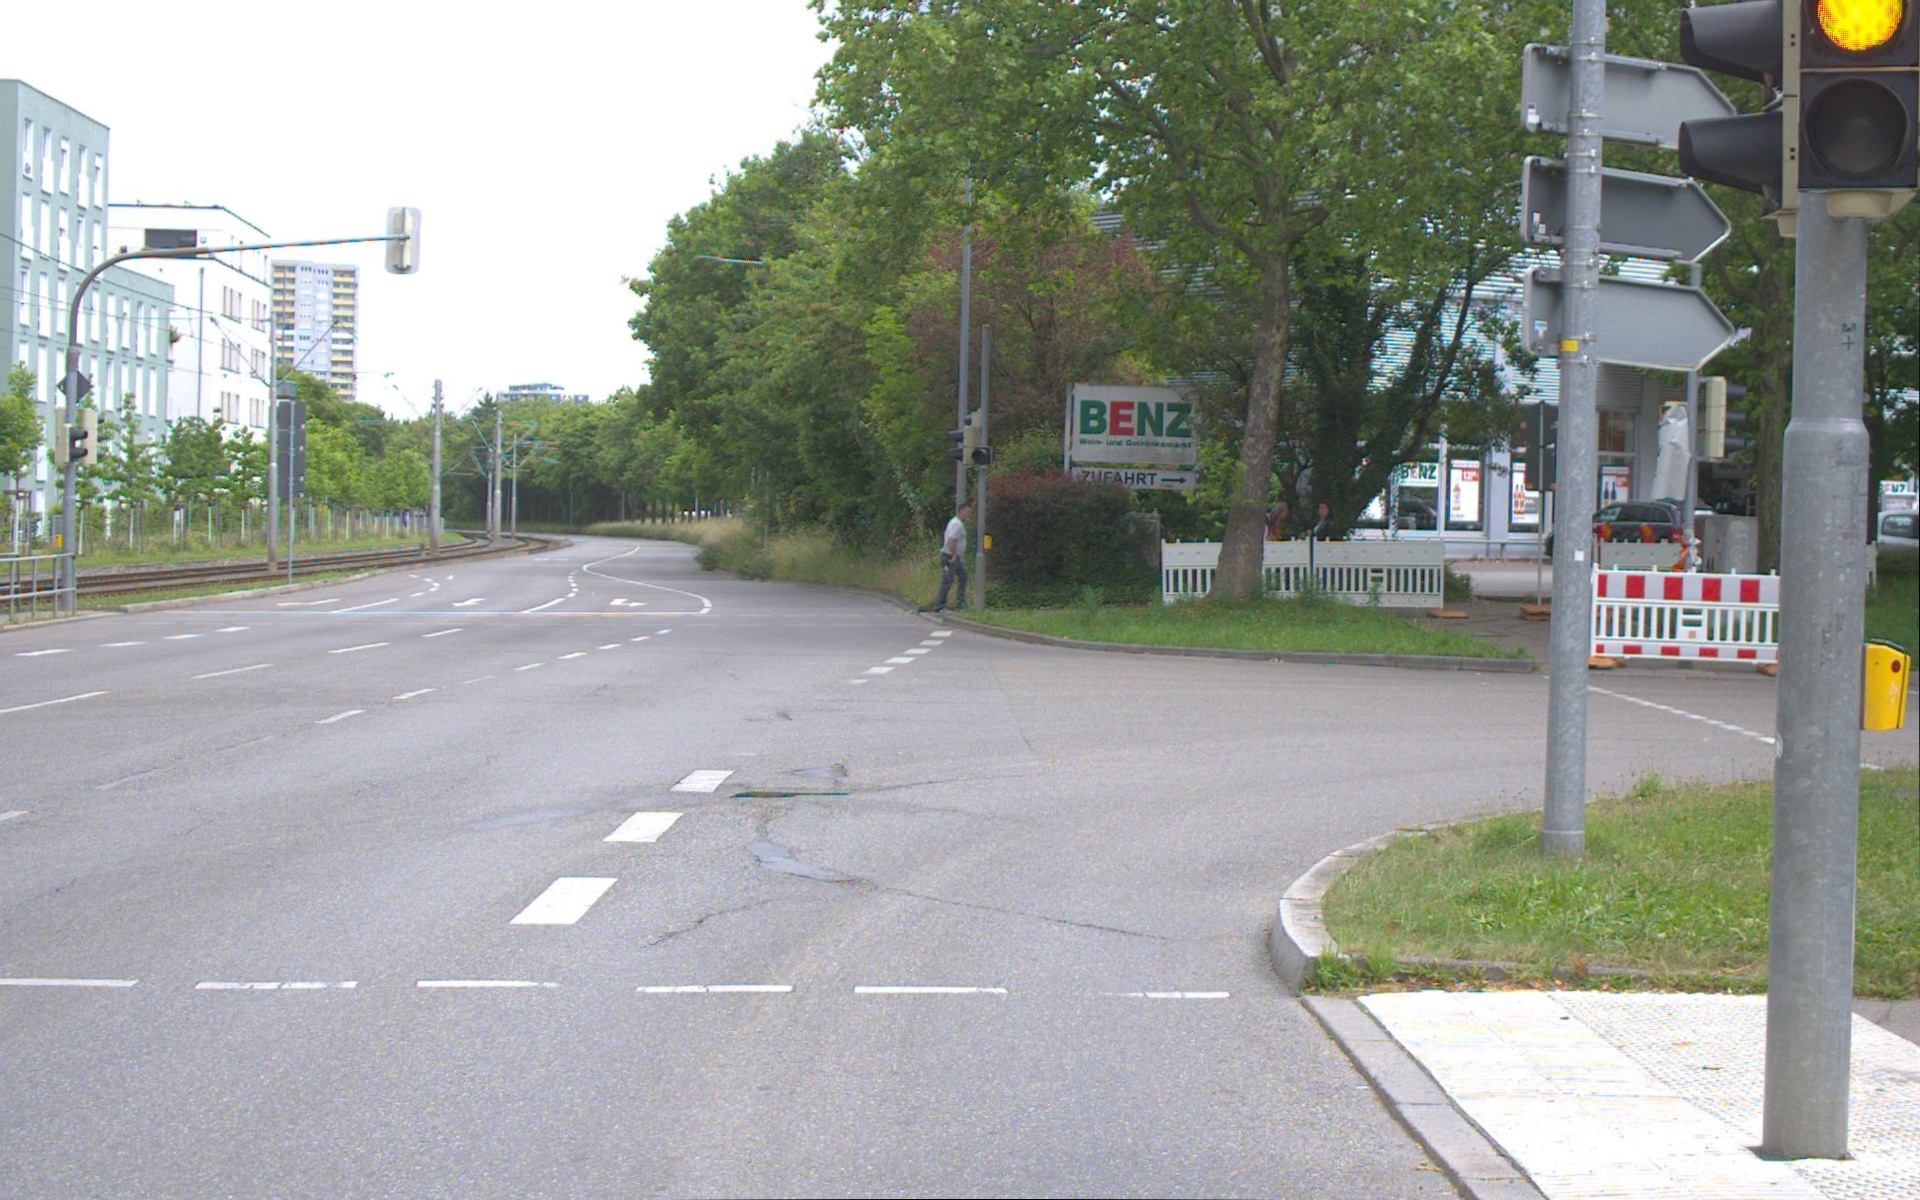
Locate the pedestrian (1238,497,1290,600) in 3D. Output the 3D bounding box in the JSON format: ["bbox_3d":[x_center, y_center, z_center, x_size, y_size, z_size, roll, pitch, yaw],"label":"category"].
[{"bbox_3d":[4.418,-0.744,49.886,0.697,1.484,0.688,1,0,8],"label":"pedestrian"}]

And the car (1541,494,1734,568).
[{"bbox_3d":[14.243,-1.445,72.510,1.728,1.495,4.269,1,1,-27],"label":"car"}]

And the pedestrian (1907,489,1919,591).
[{"bbox_3d":[19.282,-1.182,67.997,0.804,1.995,0.853,1,0,-3],"label":"pedestrian"}]

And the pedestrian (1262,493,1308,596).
[{"bbox_3d":[4.904,-0.836,51.821,0.653,1.533,0.772,1,0,7],"label":"pedestrian"}]

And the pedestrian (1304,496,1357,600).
[{"bbox_3d":[5.359,-0.748,49.759,0.697,1.484,0.720,1,0,3],"label":"pedestrian"}]

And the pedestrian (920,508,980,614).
[{"bbox_3d":[-0.145,-0.584,51.911,0.848,1.581,0.796,1,0,2],"label":"pedestrian"}]

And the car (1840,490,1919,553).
[{"bbox_3d":[21.824,-1.784,78.217,1.480,1.399,3.409,0,1,-31],"label":"car"}]

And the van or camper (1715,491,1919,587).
[{"bbox_3d":[15.664,-1.116,61.996,1.840,1.678,4.001,-1,2,-28],"label":"van or camper"}]
